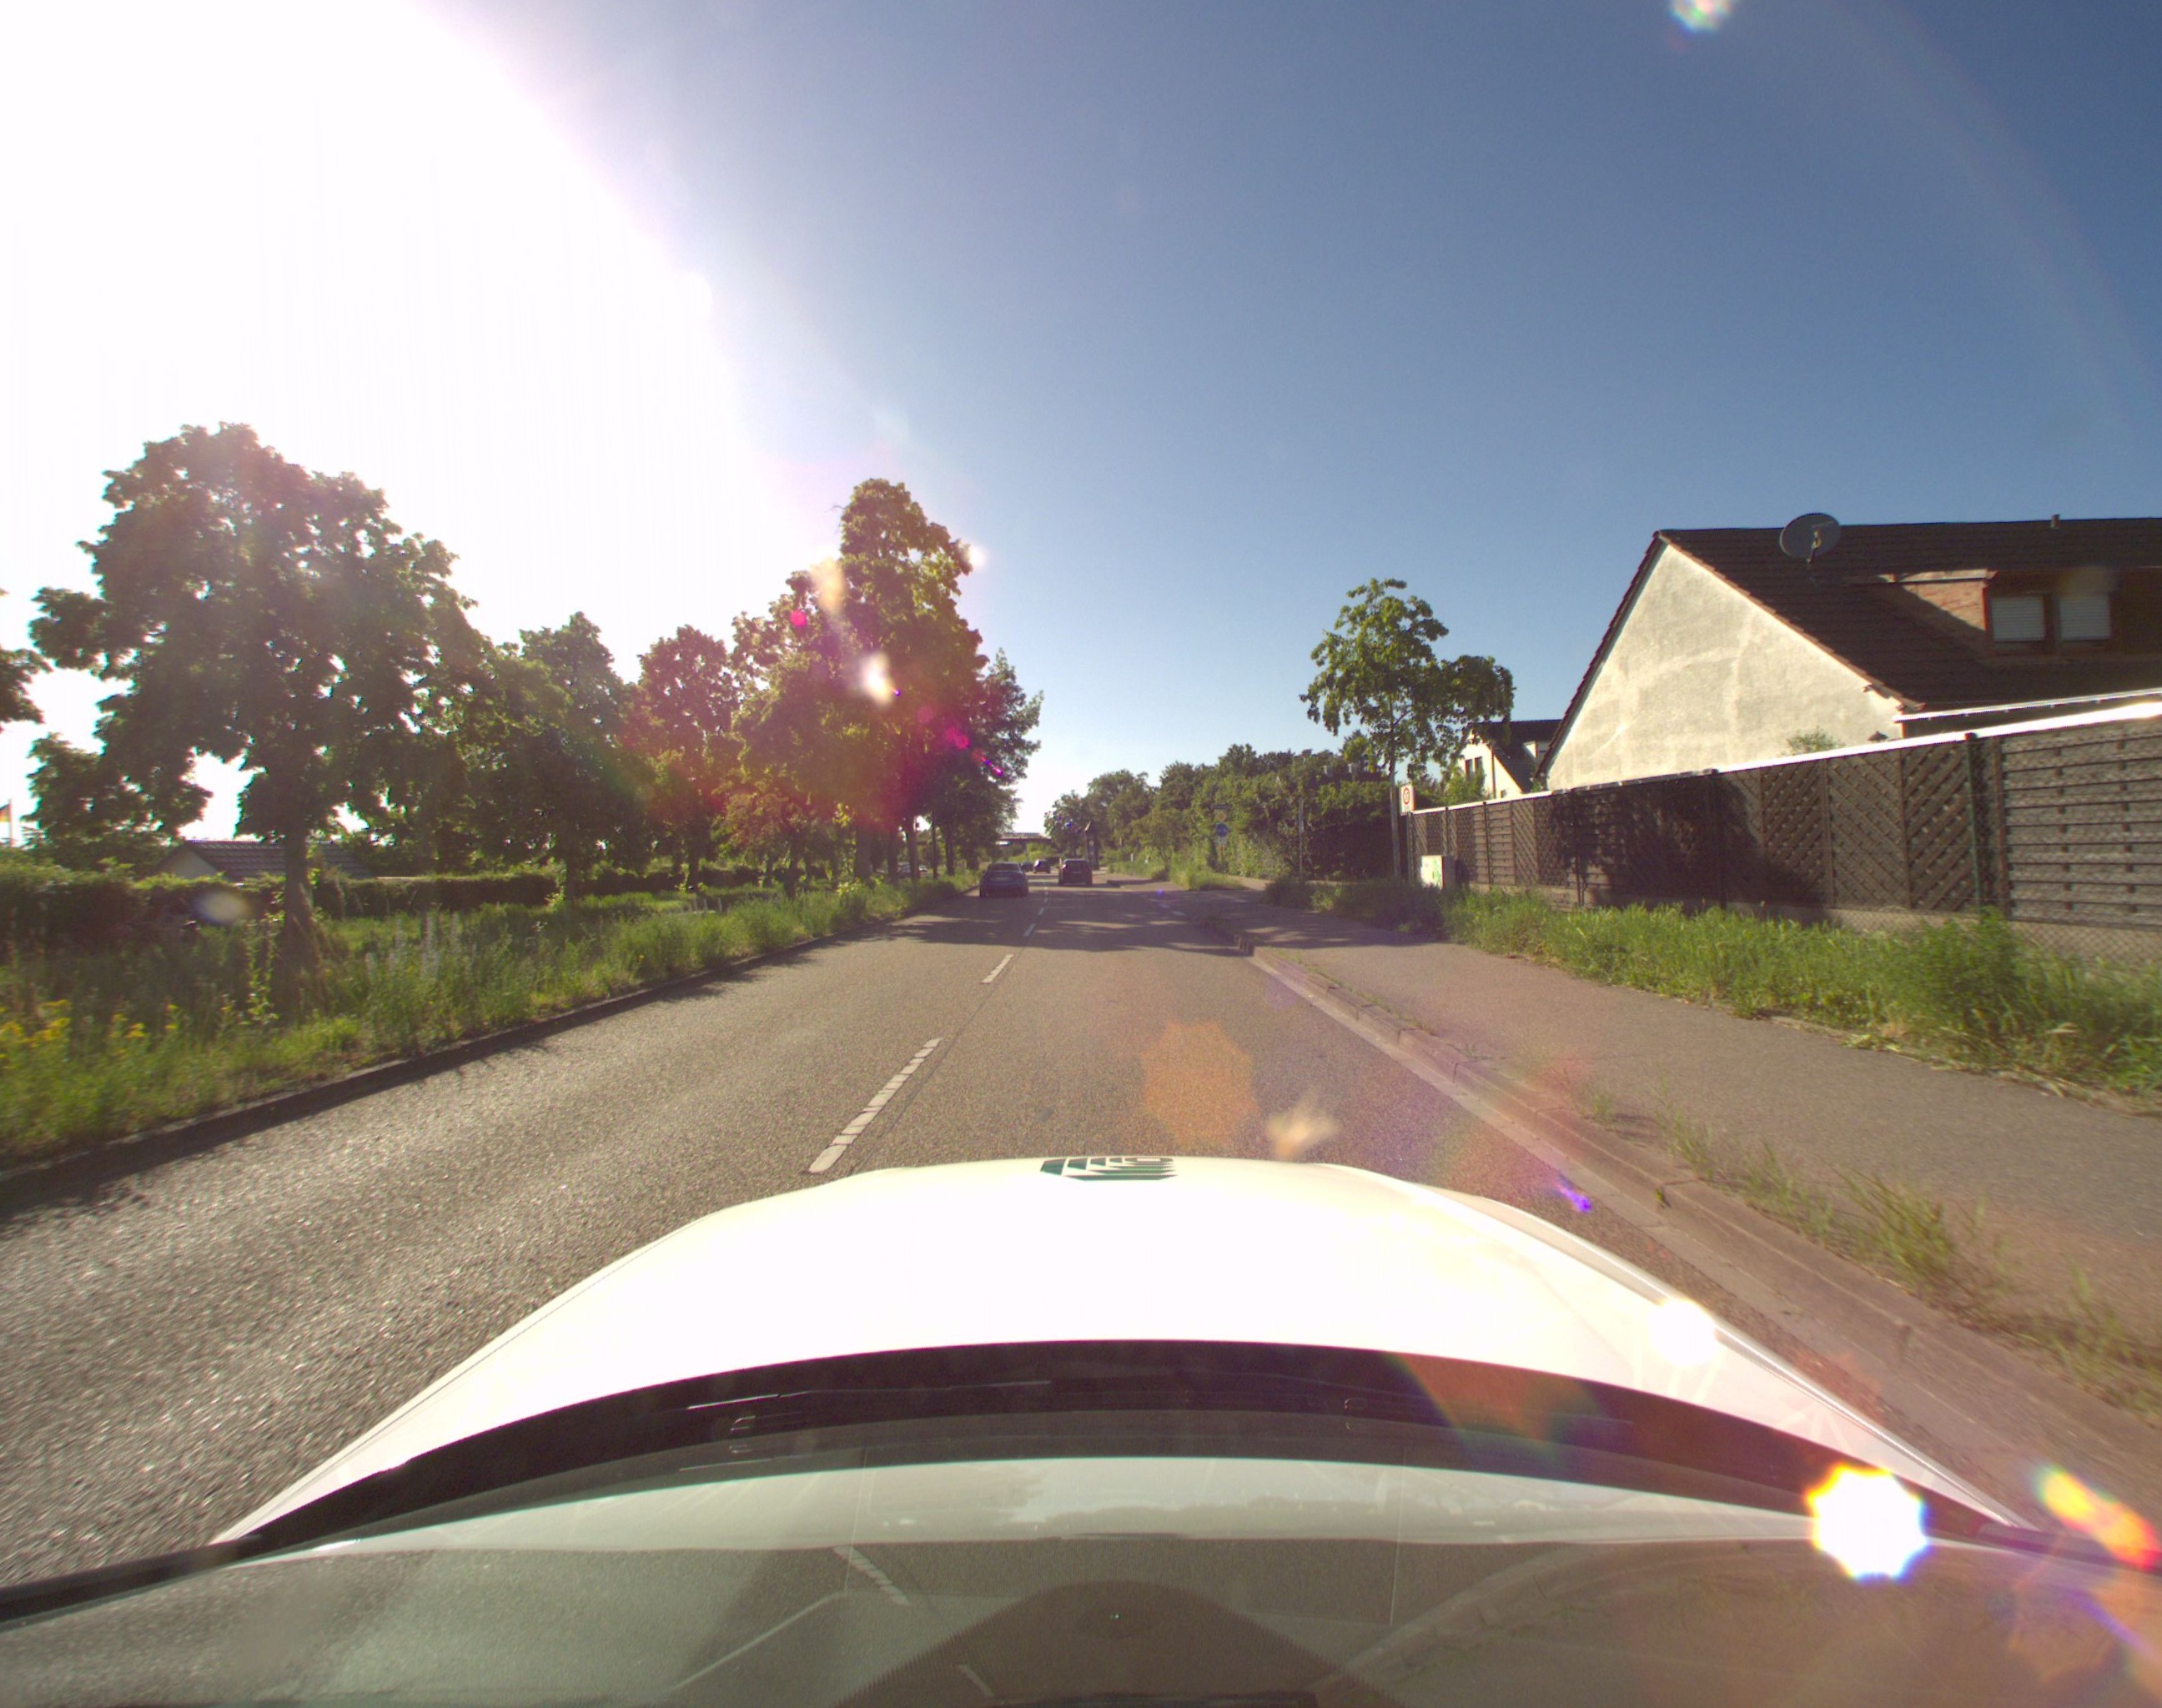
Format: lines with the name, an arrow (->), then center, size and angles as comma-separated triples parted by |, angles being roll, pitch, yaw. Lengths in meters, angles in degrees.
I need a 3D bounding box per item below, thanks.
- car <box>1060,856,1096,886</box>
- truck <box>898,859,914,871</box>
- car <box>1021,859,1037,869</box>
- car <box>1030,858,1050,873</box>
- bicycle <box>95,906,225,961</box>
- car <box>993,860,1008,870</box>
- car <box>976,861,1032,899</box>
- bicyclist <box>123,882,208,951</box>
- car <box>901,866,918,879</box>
car -> -0.216, 0.930, 44.217 | 1.757, 1.559, 3.994 | -1, -2, -3
truck -> -39.402, 2.519, 183.413 | 2.182, 2.512, 5.696 | -4, 0, -23
car -> -7.609, 1.500, 118.925 | 1.898, 1.356, 3.988 | -2, 0, -9
car -> -4.569, 1.302, 91.275 | 1.744, 1.597, 4.161 | -2, 0, -9
bicycle -> -20.046, 1.703, 17.787 | 0.687, 0.996, 1.842 | -2, 0, 1
car -> -11.700, 1.525, 117.951 | 1.898, 1.356, 3.988 | -2, 0, -9
car -> -3.135, 1.035, 33.807 | 1.989, 1.405, 3.997 | -2, 0, -2
bicyclist -> -20.066, 1.353, 17.876 | 0.687, 1.421, 1.000 | -2, 0, 1
car -> -20.541, 2.217, 97.196 | 1.695, 1.436, 4.915 | -4, 0, -14
